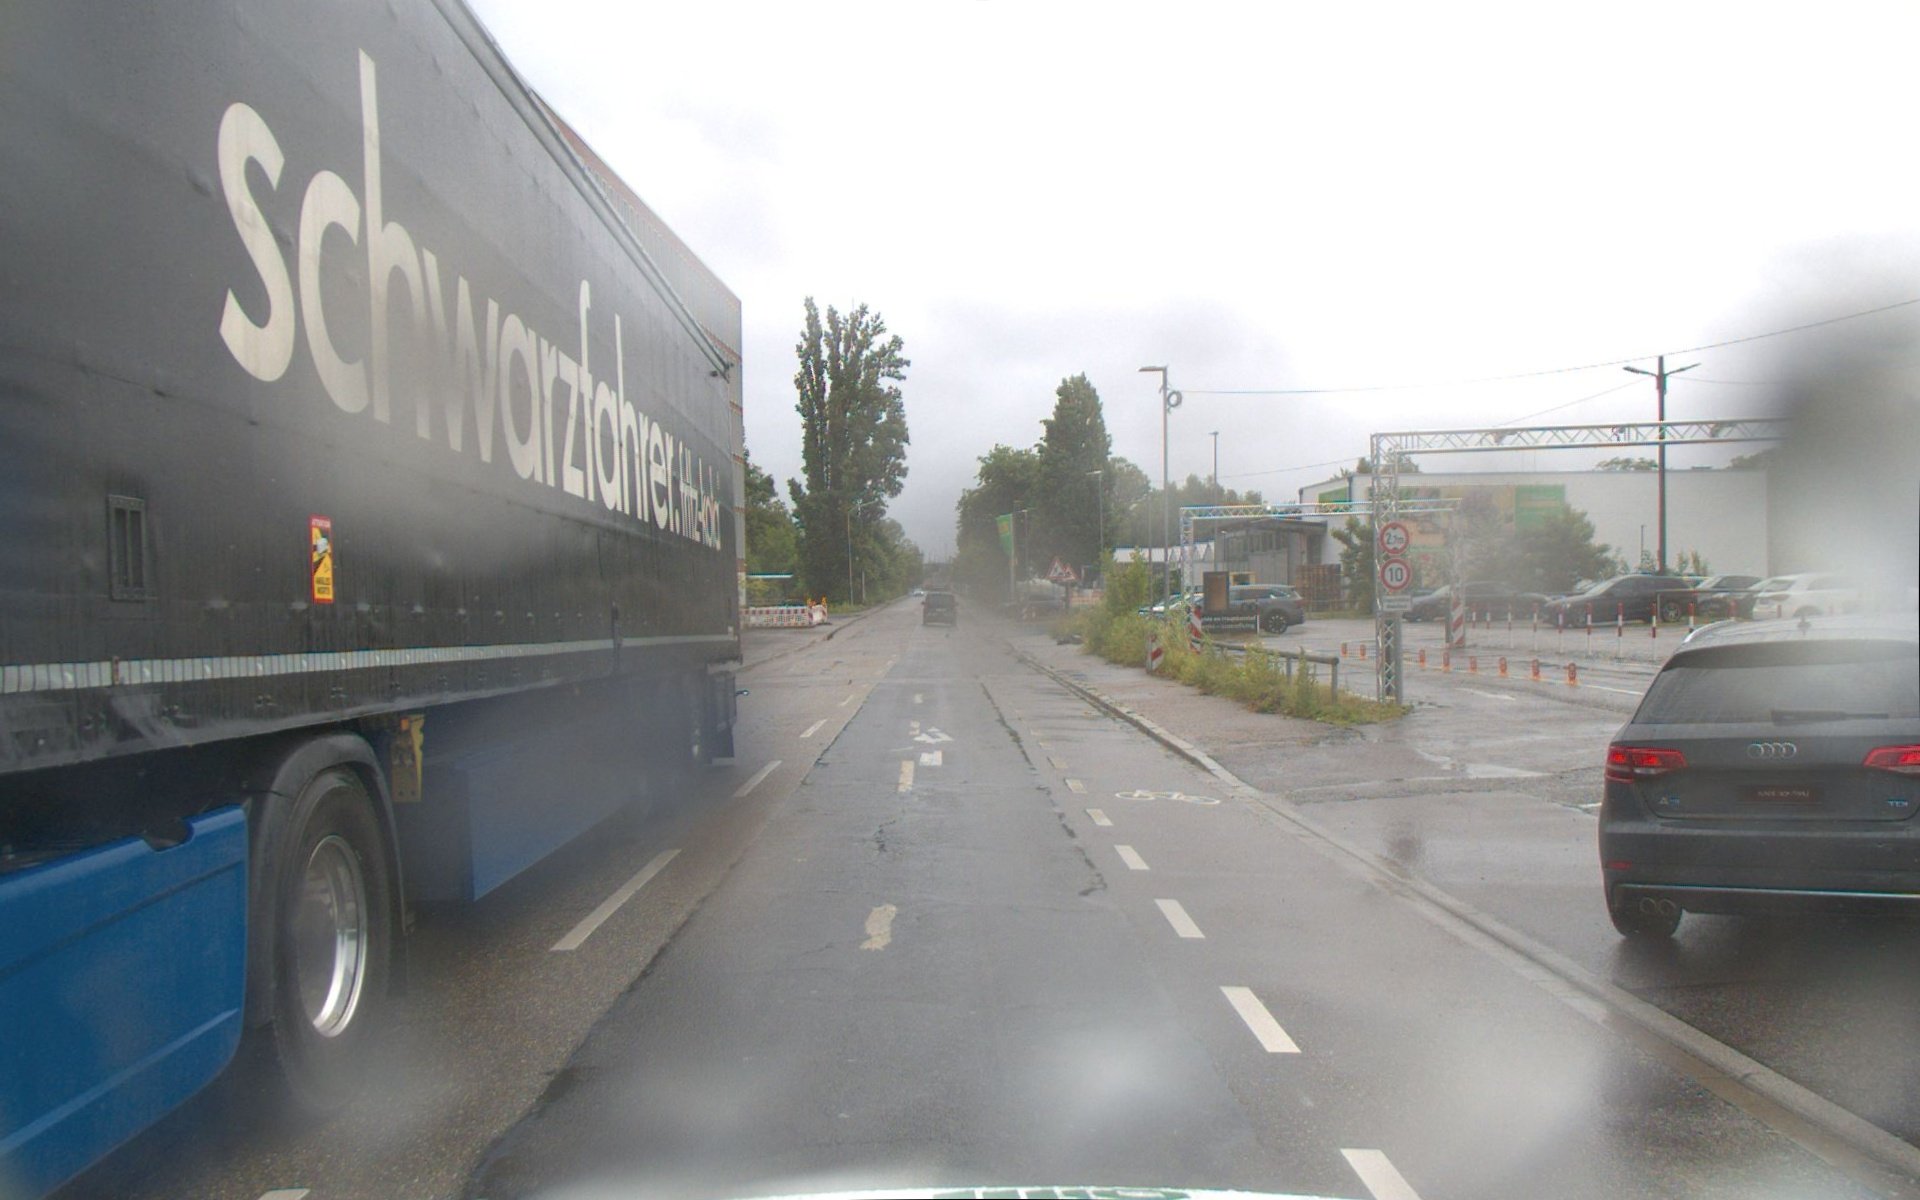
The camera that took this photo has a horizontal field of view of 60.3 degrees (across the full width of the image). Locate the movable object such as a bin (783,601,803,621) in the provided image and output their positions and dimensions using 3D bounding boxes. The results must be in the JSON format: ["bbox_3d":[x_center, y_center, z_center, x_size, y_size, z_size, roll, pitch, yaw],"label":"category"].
[{"bbox_3d":[-11.100,0.733,109.966,1.271,1.331,1.446,0,0,-7],"label":"movable object such as a bin"}]

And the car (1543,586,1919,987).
[{"bbox_3d":[4.589,0.714,8.337,1.864,1.482,4.209,-3,-1,37],"label":"car"}]

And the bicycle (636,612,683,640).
[{"bbox_3d":[-12.381,1.060,68.103,1.822,1.096,0.544,1,-1,-2],"label":"bicycle"}]

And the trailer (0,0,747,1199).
[{"bbox_3d":[-3.511,-0.642,9.484,3.228,4.735,13.727,-1,0,-2],"label":"trailer"}]

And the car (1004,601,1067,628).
[{"bbox_3d":[4.861,0.940,106.773,4.050,1.596,1.765,-1,0,2],"label":"car"}]

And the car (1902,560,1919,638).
[{"bbox_3d":[20.522,-0.133,31.532,3.961,1.510,1.928,-3,-2,2],"label":"car"}]

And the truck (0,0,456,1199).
[{"bbox_3d":[-3.315,-0.801,2.789,3.228,4.735,6.030,-1,0,-2],"label":"truck"}]

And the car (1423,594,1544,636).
[{"bbox_3d":[19.512,0.587,61.797,3.905,1.511,2.000,0,-1,0],"label":"car"}]

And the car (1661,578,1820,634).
[{"bbox_3d":[26.350,0.228,55.908,4.351,1.633,2.043,-3,-2,-1],"label":"car"}]

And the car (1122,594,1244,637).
[{"bbox_3d":[8.150,0.574,60.652,4.207,1.543,1.819,0,-1,0],"label":"car"}]

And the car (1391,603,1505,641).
[{"bbox_3d":[19.168,0.869,65.095,3.905,1.434,2.000,0,-1,0],"label":"car"}]

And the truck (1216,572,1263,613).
[{"bbox_3d":[19.421,-0.529,115.300,2.253,2.706,7.418,-2,0,2],"label":"truck"}]

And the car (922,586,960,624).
[{"bbox_3d":[-1.031,0.287,88.204,1.953,1.944,4.199,-1,0,-2],"label":"car"}]

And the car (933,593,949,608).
[{"bbox_3d":[-2.143,0.077,190.022,1.694,1.716,3.898,0,-1,2],"label":"car"}]

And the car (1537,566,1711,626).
[{"bbox_3d":[20.267,-0.099,50.597,4.530,1.746,2.016,0,-1,-7],"label":"car"}]

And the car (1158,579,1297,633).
[{"bbox_3d":[9.303,0.236,57.750,4.583,1.765,2.129,-1,-1,4],"label":"car"}]

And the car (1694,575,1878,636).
[{"bbox_3d":[25.431,0.185,51.039,4.607,1.633,2.043,-3,-2,-1],"label":"car"}]

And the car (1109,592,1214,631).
[{"bbox_3d":[8.206,0.496,67.604,4.096,1.536,1.890,0,-1,0],"label":"car"}]

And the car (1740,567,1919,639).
[{"bbox_3d":[20.873,0.079,39.272,3.750,1.510,1.928,-3,-2,2],"label":"car"}]
